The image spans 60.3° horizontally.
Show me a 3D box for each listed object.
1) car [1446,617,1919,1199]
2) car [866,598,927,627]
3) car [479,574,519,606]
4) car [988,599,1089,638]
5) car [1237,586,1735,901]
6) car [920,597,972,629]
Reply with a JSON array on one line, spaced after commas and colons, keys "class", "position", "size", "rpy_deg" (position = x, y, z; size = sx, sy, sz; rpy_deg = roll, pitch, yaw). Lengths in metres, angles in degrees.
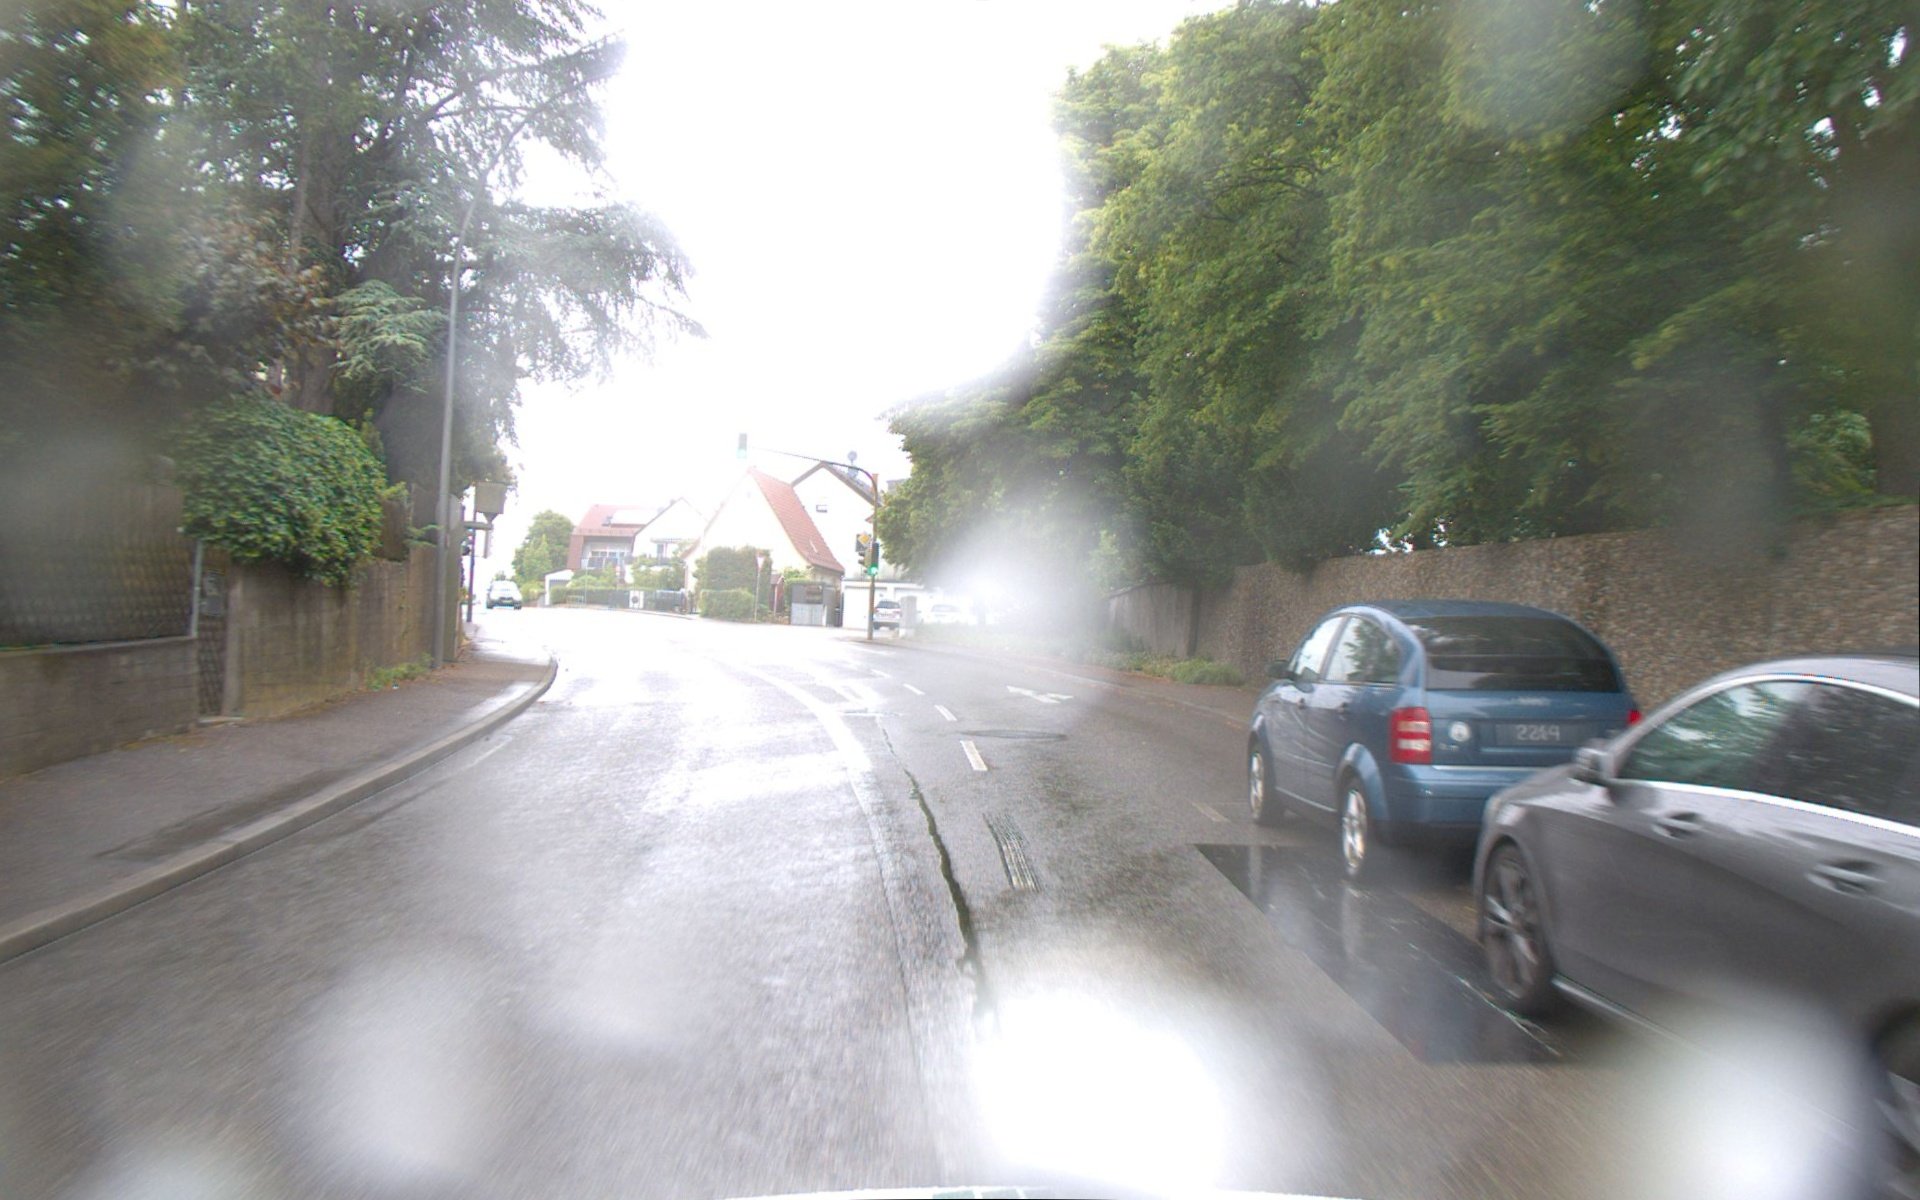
[{"class": "car", "position": [3.104, 0.823, 4.807], "size": [1.953, 1.444, 4.483], "rpy_deg": [1, 0, -2]}, {"class": "car", "position": [-3.185, 0.613, 83.826], "size": [1.951, 1.422, 4.154], "rpy_deg": [1, 0, 14]}, {"class": "car", "position": [-26.456, -0.571, 94.857], "size": [1.963, 1.735, 3.978], "rpy_deg": [2, 0, -19]}, {"class": "car", "position": [3.355, 0.772, 71.029], "size": [4.095, 1.467, 1.831], "rpy_deg": [3, 0, -6]}, {"class": "car", "position": [2.961, 0.713, 10.193], "size": [1.753, 1.559, 3.799], "rpy_deg": [1, 0, -2]}, {"class": "car", "position": [-0.690, 0.621, 83.548], "size": [1.951, 1.557, 4.003], "rpy_deg": [1, 0, 10]}]
